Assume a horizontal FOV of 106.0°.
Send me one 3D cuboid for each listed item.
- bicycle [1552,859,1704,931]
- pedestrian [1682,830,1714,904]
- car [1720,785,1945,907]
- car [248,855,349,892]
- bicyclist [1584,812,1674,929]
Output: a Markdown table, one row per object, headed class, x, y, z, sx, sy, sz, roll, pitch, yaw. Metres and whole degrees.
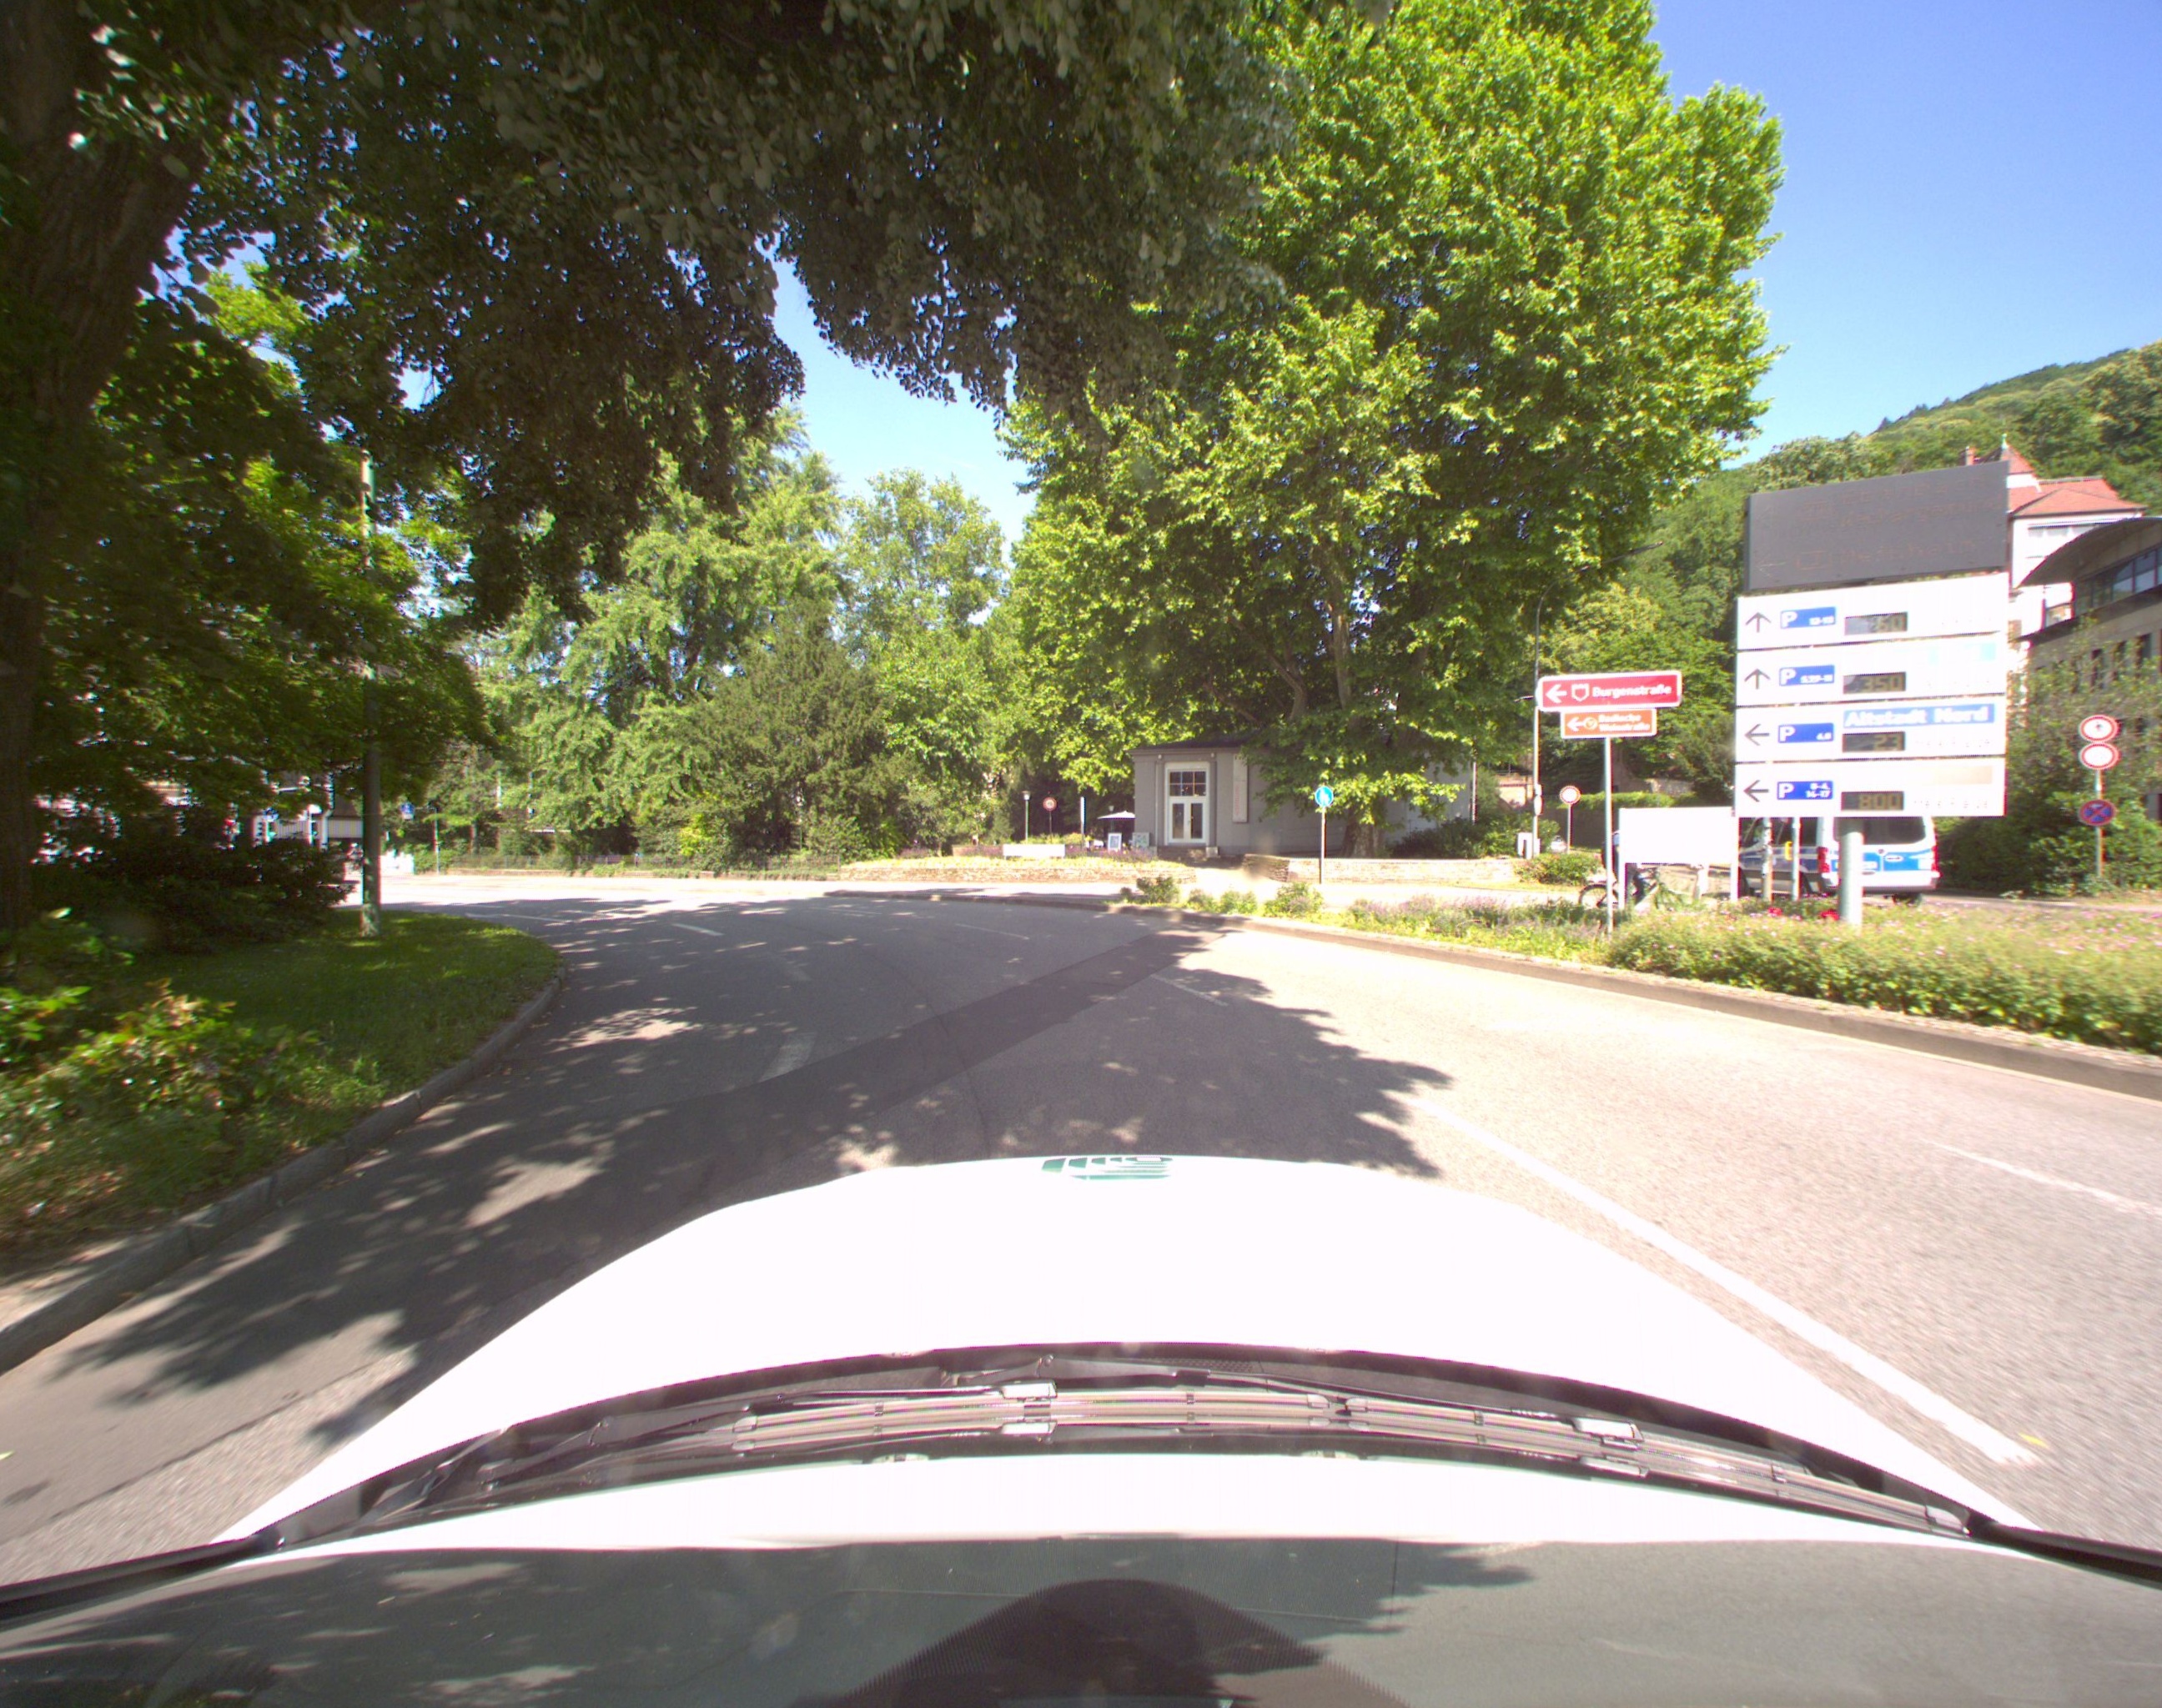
| class | x | y | z | sx | sy | sz | roll | pitch | yaw |
| --- | --- | --- | --- | --- | --- | --- | --- | --- | --- |
| bicycle | 9.425 | 0.667 | 14.101 | 0.761 | 1.112 | 2.059 | -1 | 1 | -41 |
| pedestrian | 13.823 | 0.279 | 18.255 | 0.541 | 1.621 | 0.638 | 0 | 1 | 33 |
| car | 17.479 | -0.199 | 19.335 | 2.056 | 2.508 | 4.953 | 1 | 1 | 19 |
| car | -35.270 | 0.856 | 36.720 | 4.031 | 1.537 | 1.965 | 0 | 1 | 26 |
| bicyclist | 9.452 | 0.264 | 14.067 | 0.752 | 1.932 | 1.116 | 0 | 1 | -41 |
